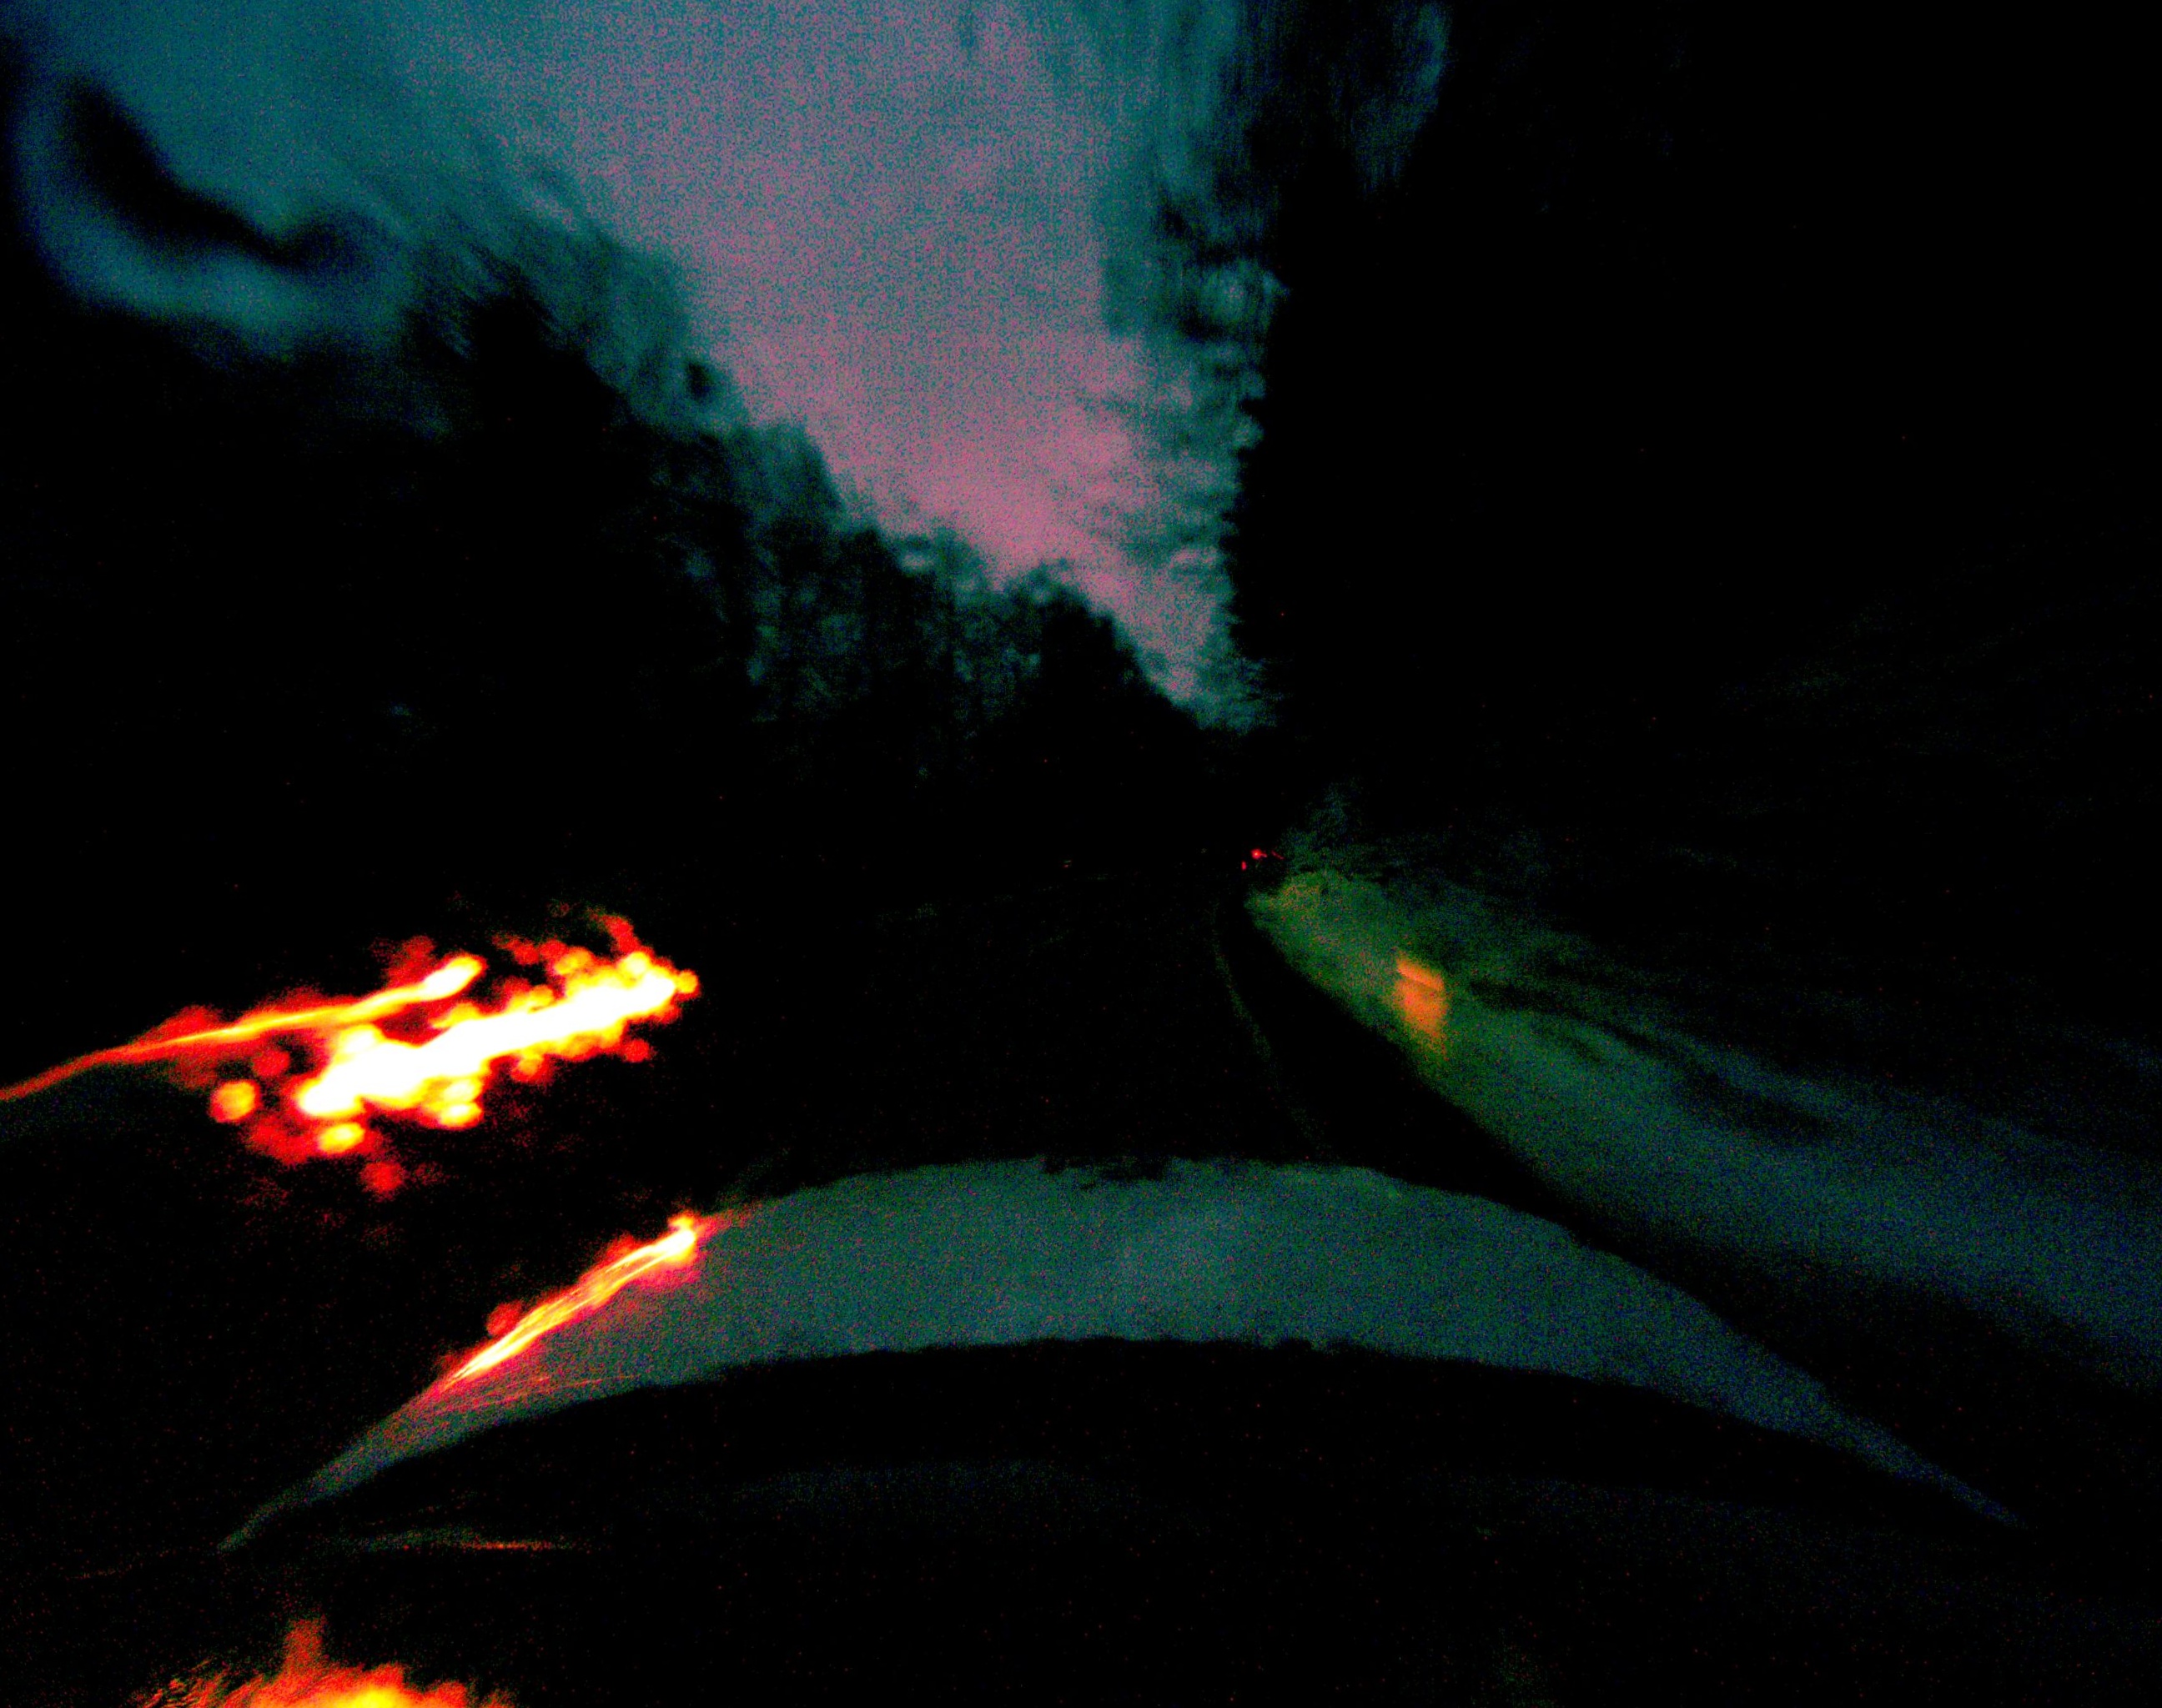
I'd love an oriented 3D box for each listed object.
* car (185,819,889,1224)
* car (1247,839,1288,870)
[{"bbox_3d":[-2.708,0.688,5.315,1.714,1.630,4.004,-1,0,3],"label":"car"},{"bbox_3d":[12.496,0.011,54.452,1.976,1.872,4.021,-3,-1,21],"label":"car"}]
